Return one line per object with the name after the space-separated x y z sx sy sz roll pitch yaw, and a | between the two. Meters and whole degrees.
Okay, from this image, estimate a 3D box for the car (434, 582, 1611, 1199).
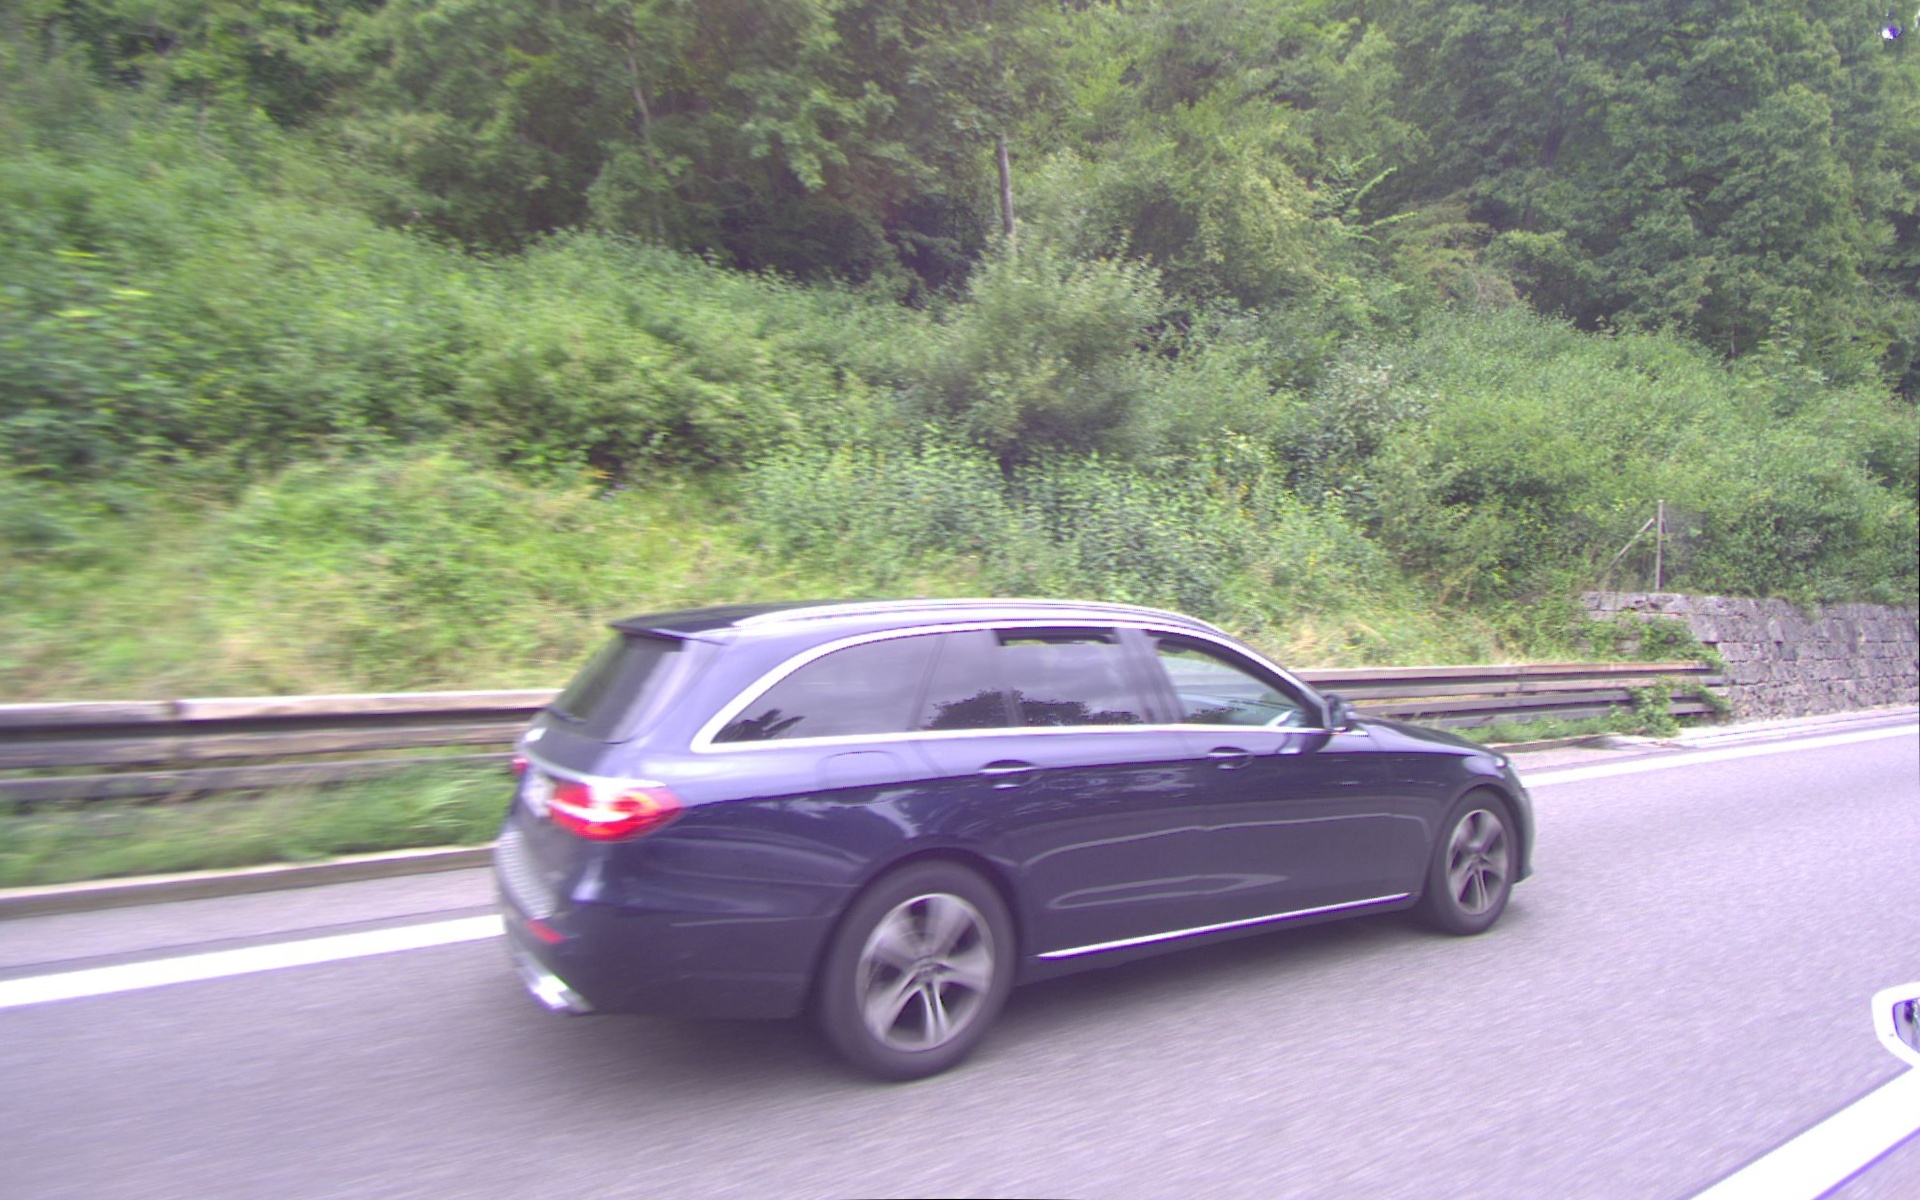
0.582 0.728 4.412 5.062 1.483 1.752 1 0 -31 | car
